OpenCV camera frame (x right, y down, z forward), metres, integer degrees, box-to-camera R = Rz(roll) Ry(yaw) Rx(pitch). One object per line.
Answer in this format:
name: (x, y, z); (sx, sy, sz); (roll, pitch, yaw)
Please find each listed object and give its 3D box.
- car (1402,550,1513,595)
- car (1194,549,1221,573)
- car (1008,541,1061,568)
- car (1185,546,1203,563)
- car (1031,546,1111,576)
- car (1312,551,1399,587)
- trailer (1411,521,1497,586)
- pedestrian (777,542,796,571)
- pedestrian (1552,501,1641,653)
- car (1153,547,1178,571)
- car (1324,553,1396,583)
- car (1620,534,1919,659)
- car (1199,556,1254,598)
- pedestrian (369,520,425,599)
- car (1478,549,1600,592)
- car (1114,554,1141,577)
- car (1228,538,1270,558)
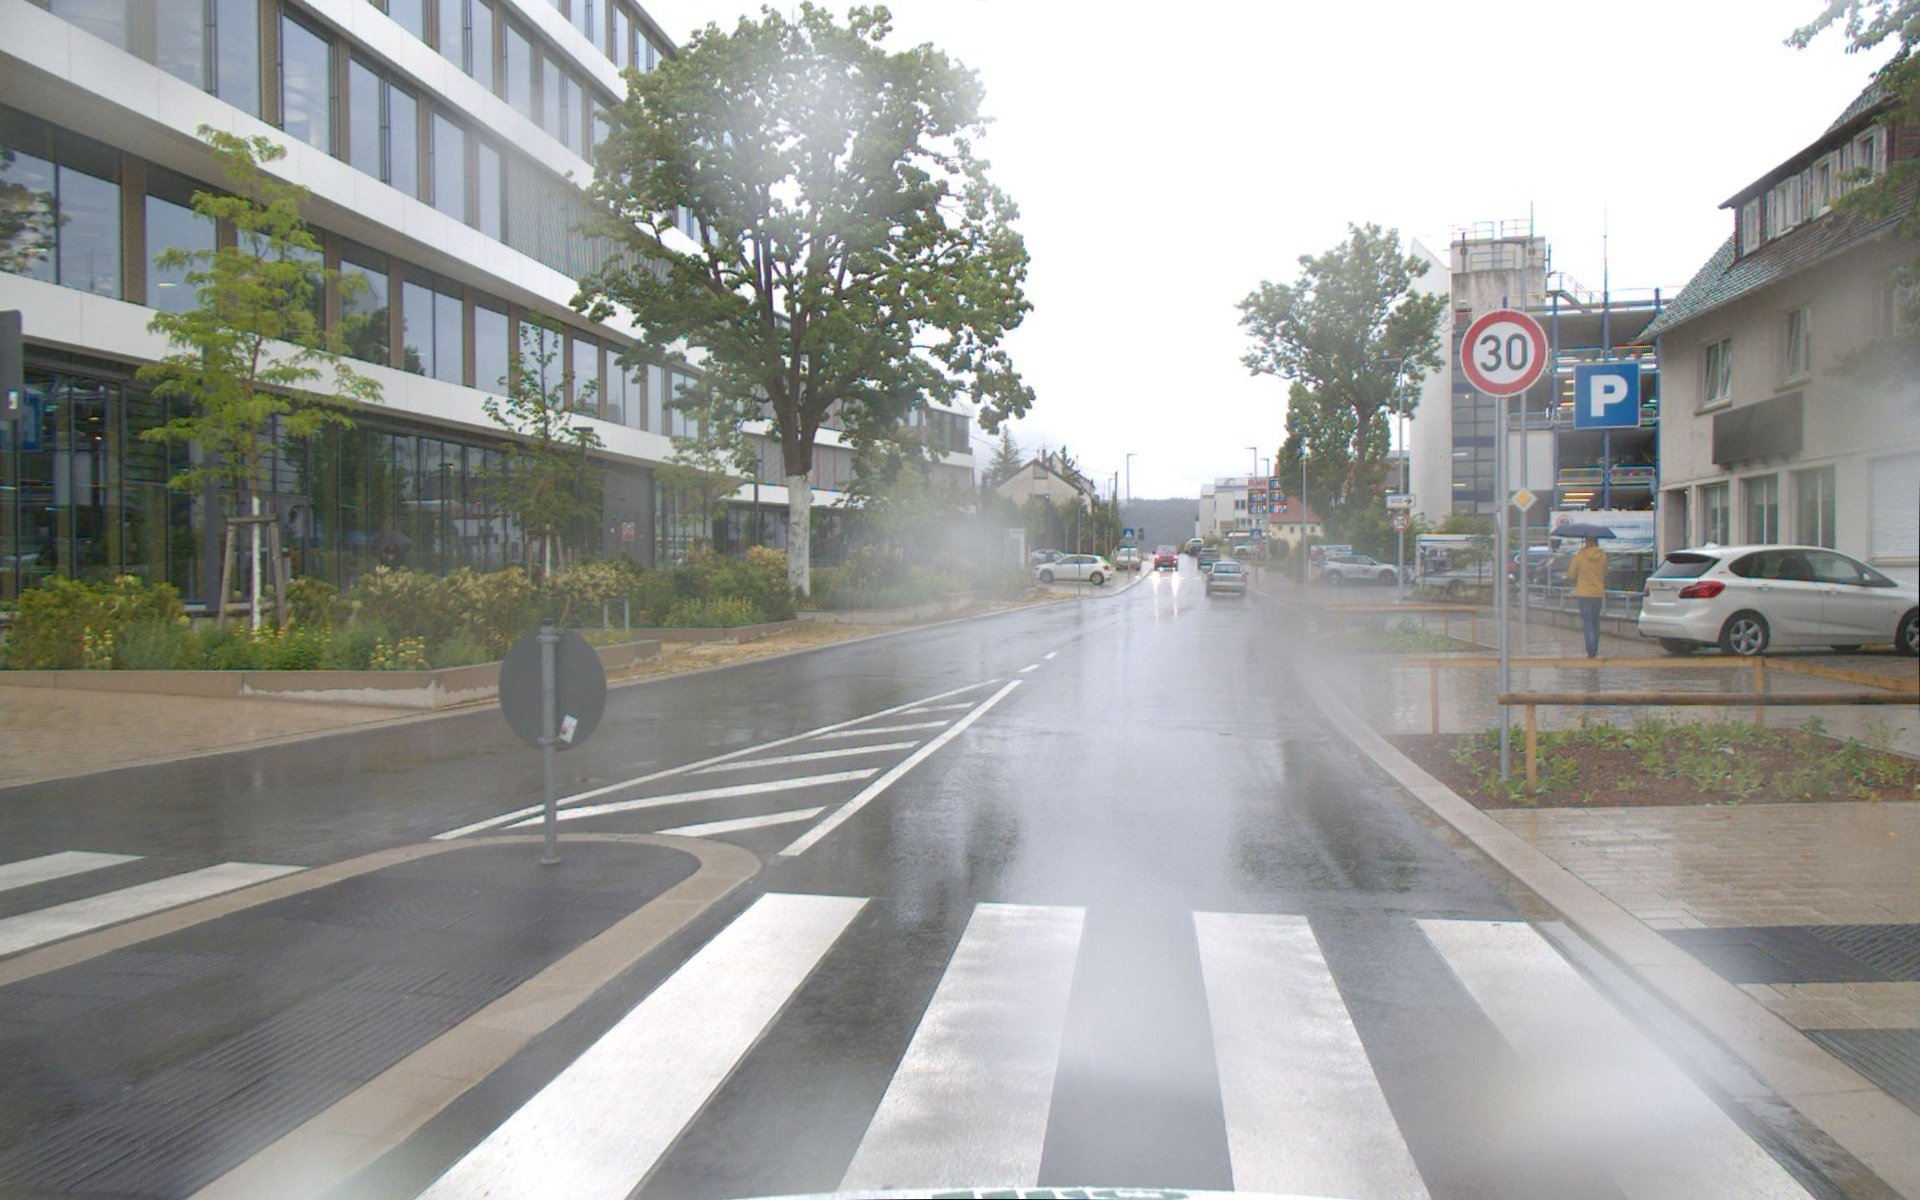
car: (17.946, -0.976, 59.782); (3.646, 1.555, 1.651); (-1, 0, 8)
car: (20.638, -3.250, 138.070); (2.109, 1.735, 4.003); (4, 1, 7)
car: (6.783, -4.156, 150.572); (4.657, 2.048, 2.000); (4, 0, 0)
car: (27.077, -5.239, 191.272); (1.952, 1.735, 4.003); (4, 1, 7)
car: (5.566, -1.943, 82.702); (3.844, 1.447, 1.900); (1, 2, 9)
car: (20.014, -1.566, 83.629); (4.119, 1.678, 2.001); (-1, 1, 18)
trailer: (17.081, -1.609, 57.289); (2.644, 2.209, 1.550); (1, 1, 10)
pedestrian: (-10.570, -2.669, 100.839); (0.992, 1.754, 0.773); (1, 2, 5)
pedestrian: (8.924, -0.330, 23.234); (0.841, 2.048, 1.196); (-2, 1, 6)
car: (16.367, -3.282, 131.975); (1.960, 1.849, 4.984); (1, 2, 7)
car: (20.850, -1.656, 86.216); (3.544, 1.520, 1.807); (0, 1, 17)
car: (11.846, -0.090, 23.596); (4.049, 1.608, 1.998); (-2, 2, -6)
car: (11.239, -0.967, 69.898); (1.907, 1.582, 4.002); (4, 1, 5)
pedestrian: (-12.950, -0.920, 38.066); (0.709, 1.733, 0.957); (4, 0, 11)
car: (23.013, -1.195, 65.814); (4.263, 1.680, 1.846); (0, 1, 6)
car: (12.900, -2.670, 127.204); (1.951, 1.657, 4.157); (0, 2, 8)
car: (30.539, -5.530, 174.836); (4.027, 1.735, 1.790); (4, 0, 5)
